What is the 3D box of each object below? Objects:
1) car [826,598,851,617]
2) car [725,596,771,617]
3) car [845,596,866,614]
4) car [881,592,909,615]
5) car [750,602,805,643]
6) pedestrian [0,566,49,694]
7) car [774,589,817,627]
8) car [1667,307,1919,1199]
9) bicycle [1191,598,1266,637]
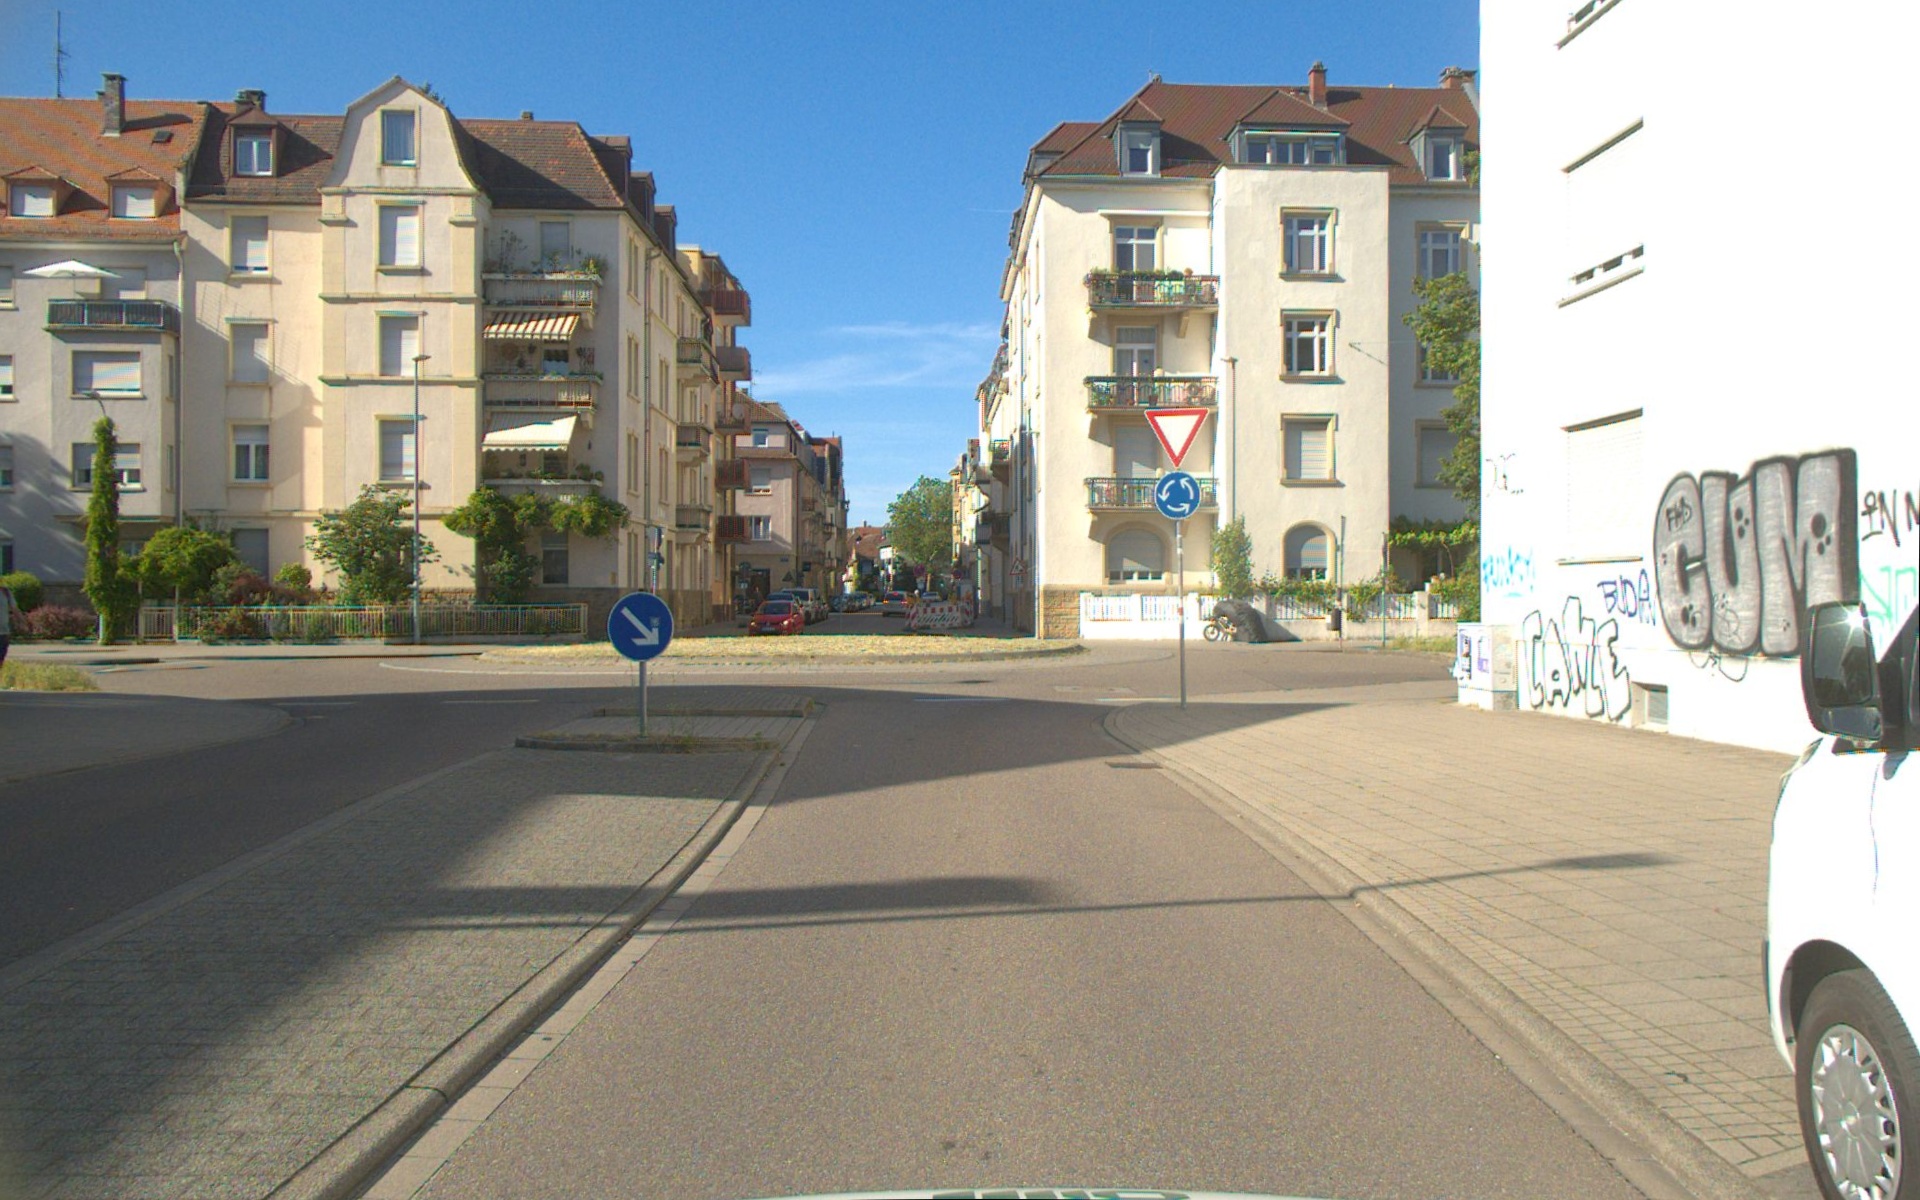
[{"bbox_3d":[-9.860,0.625,134.152,1.645,1.451,4.273,2,-1,0],"label":"car"},{"bbox_3d":[-16.081,0.491,125.148,3.473,1.464,1.692,2,1,45],"label":"car"},{"bbox_3d":[-10.442,0.507,165.550,1.963,1.647,4.485,2,-1,-2],"label":"car"},{"bbox_3d":[-4.508,0.270,114.479,1.801,1.457,4.027,-1,-2,-1],"label":"car"},{"bbox_3d":[-6.826,0.823,62.266,1.677,1.406,3.999,-1,1,-1],"label":"car"},{"bbox_3d":[-13.310,0.404,22.887,0.975,1.735,0.818,1,-1,30],"label":"pedestrian"},{"bbox_3d":[-8.879,0.431,89.565,1.935,1.959,5.307,1,0,-2],"label":"car"},{"bbox_3d":[2.983,0.378,2.188,1.953,2.048,4.797,-3,0,0],"label":"car"},{"bbox_3d":[8.378,0.529,51.637,2.244,1.178,0.762,1,-1,41],"label":"bicycle"}]
